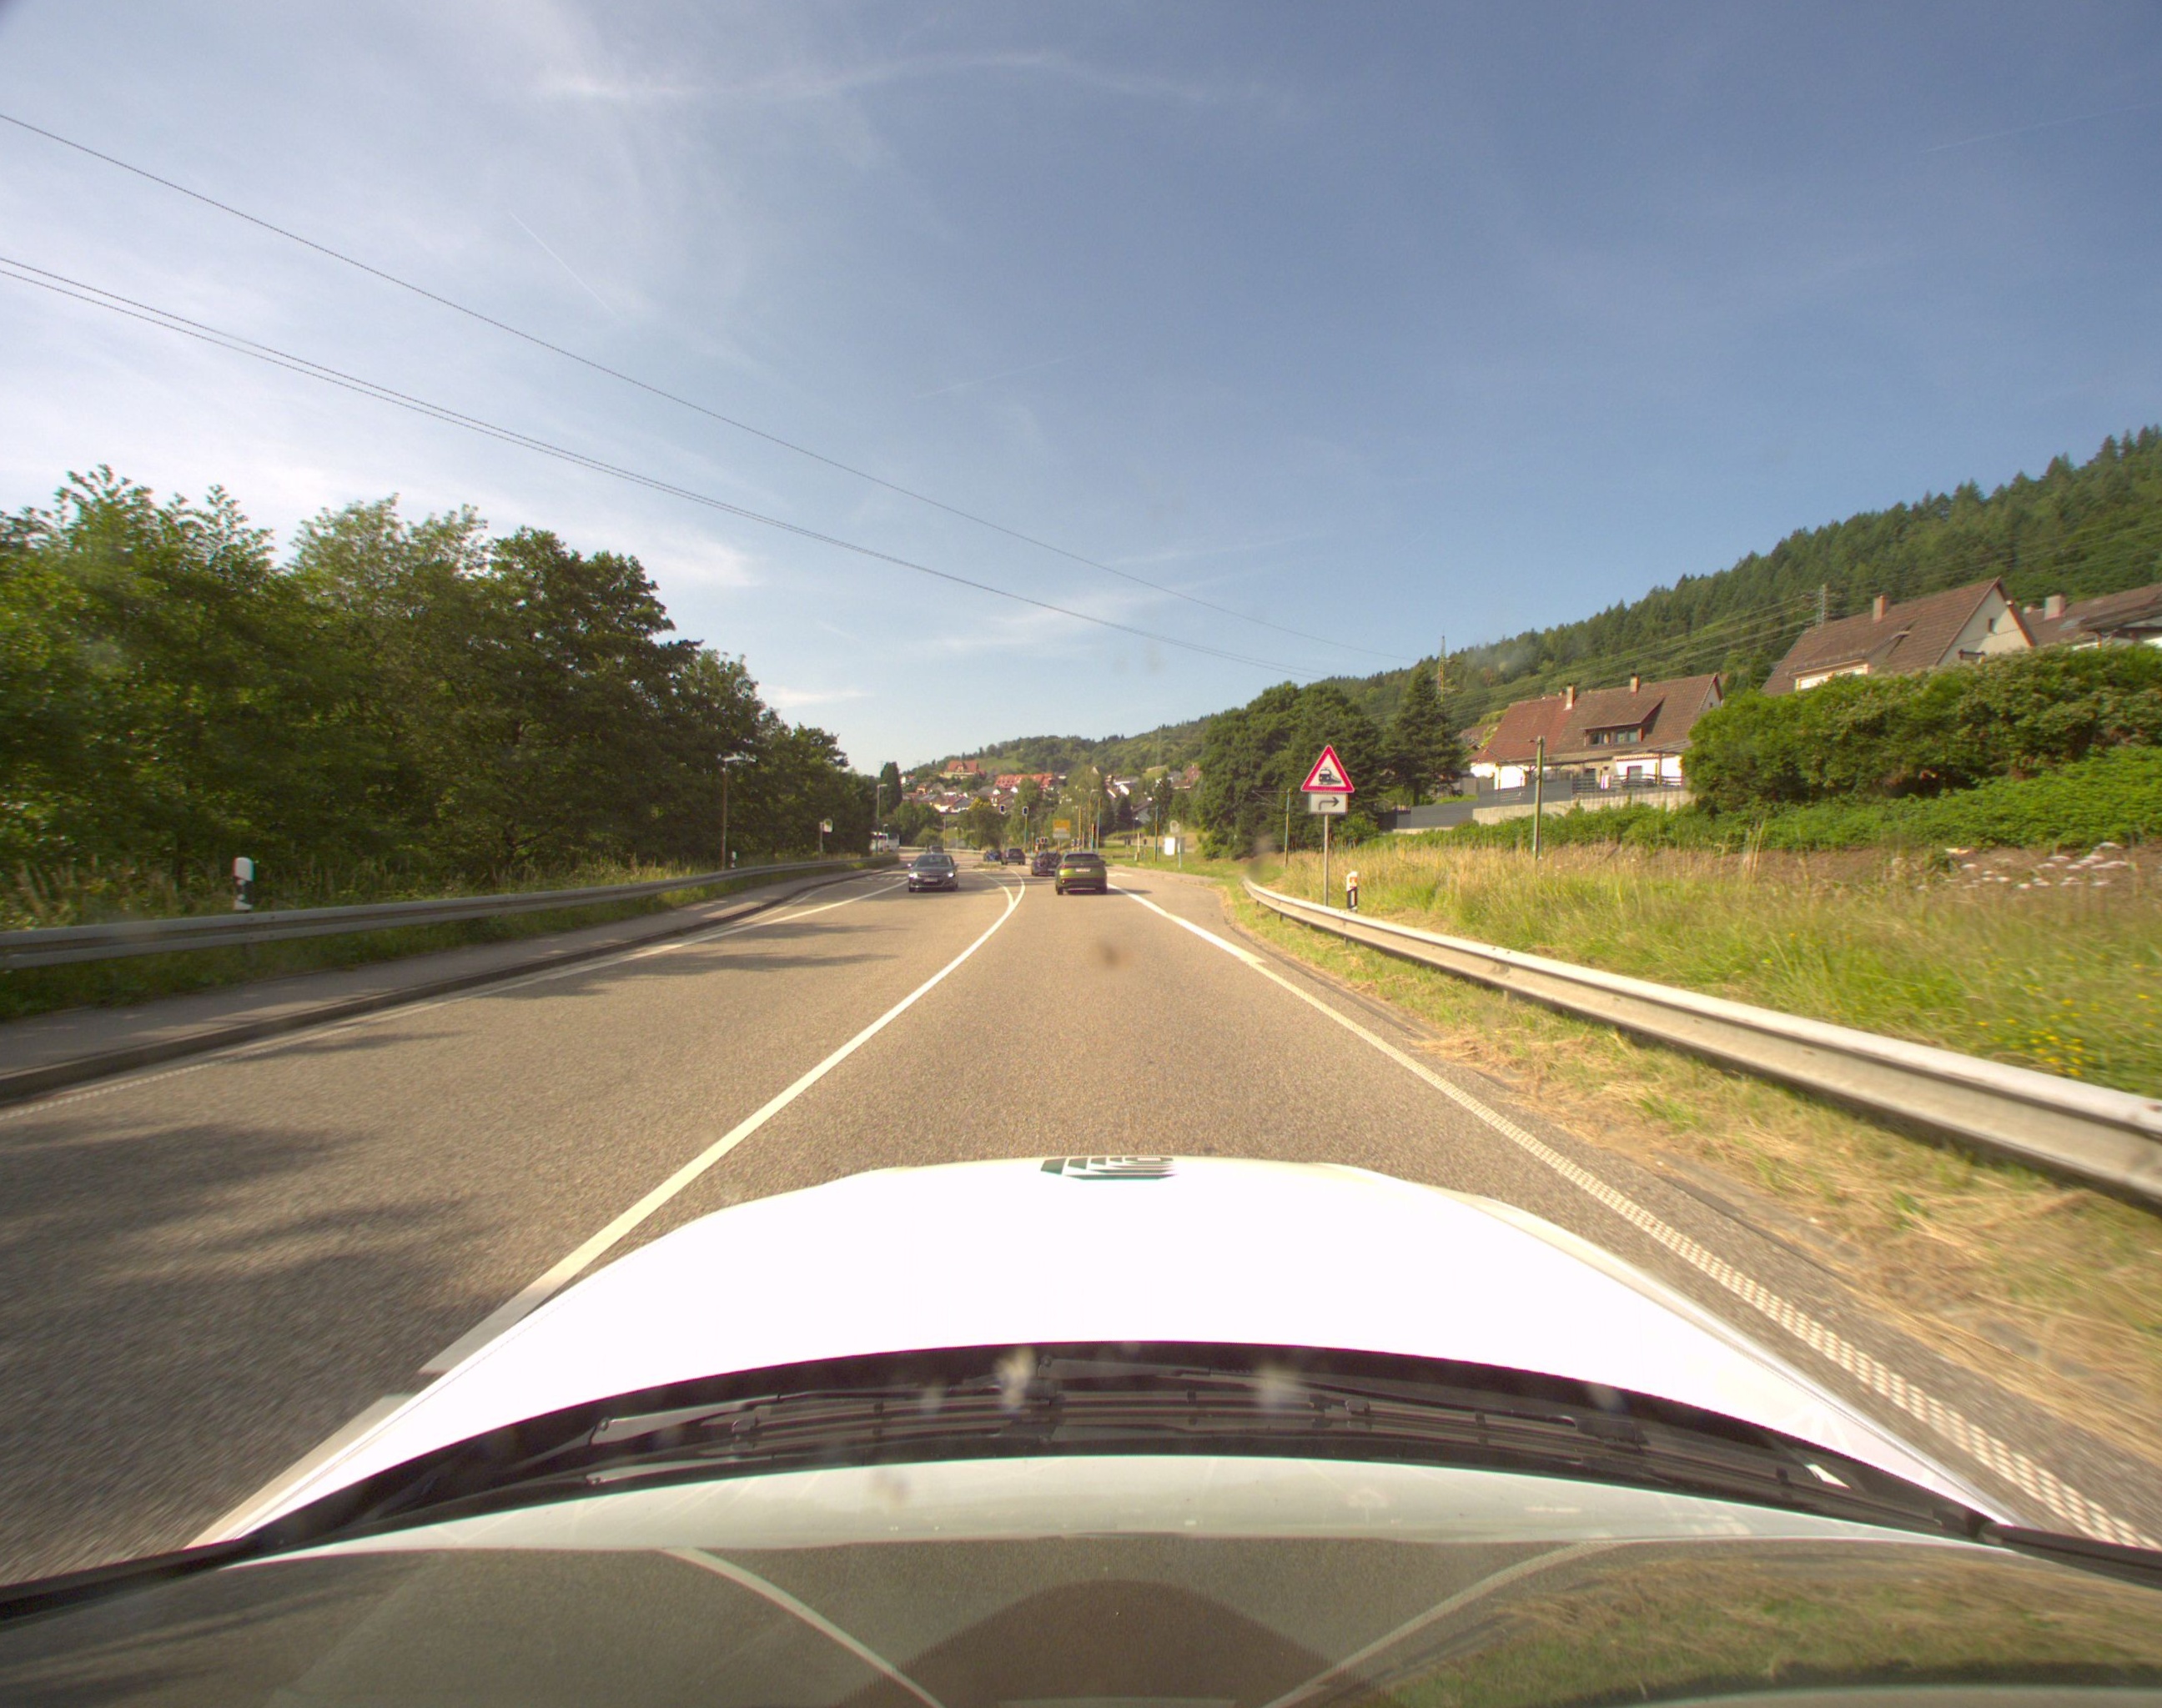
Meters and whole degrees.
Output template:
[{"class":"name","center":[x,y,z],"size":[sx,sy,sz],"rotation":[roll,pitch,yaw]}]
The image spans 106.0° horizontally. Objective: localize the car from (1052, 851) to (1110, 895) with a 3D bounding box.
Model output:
[{"class":"car","center":[-0.064,0.627,29.074],"size":[1.712,1.455,3.993],"rotation":[-1,0,-5]}]

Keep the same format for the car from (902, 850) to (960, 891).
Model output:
[{"class":"car","center":[-5.917,0.621,32.486],"size":[1.888,1.488,3.992],"rotation":[-1,0,-6]}]

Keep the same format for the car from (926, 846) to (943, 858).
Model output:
[{"class":"car","center":[-23.951,-0.352,133.191],"size":[2.071,1.811,3.972],"rotation":[0,0,-21]}]

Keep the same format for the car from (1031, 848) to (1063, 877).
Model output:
[{"class":"car","center":[-2.024,0.471,47.097],"size":[1.664,1.559,3.993],"rotation":[0,0,-5]}]

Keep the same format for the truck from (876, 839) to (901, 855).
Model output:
[{"class":"truck","center":[-38.069,-1.475,160.966],"size":[2.731,3.084,6.045],"rotation":[1,1,-33]}]

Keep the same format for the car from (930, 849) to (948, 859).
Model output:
[{"class":"car","center":[-25.562,-0.037,146.452],"size":[2.006,1.745,3.961],"rotation":[0,0,-31]}]

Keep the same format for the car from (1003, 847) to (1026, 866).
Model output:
[{"class":"car","center":[-6.219,0.196,75.817],"size":[1.878,1.686,3.990],"rotation":[0,0,-8]}]

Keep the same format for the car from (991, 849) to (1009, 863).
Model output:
[{"class":"car","center":[-9.338,0.220,93.558],"size":[1.849,1.527,3.650],"rotation":[-1,1,-10]}]
